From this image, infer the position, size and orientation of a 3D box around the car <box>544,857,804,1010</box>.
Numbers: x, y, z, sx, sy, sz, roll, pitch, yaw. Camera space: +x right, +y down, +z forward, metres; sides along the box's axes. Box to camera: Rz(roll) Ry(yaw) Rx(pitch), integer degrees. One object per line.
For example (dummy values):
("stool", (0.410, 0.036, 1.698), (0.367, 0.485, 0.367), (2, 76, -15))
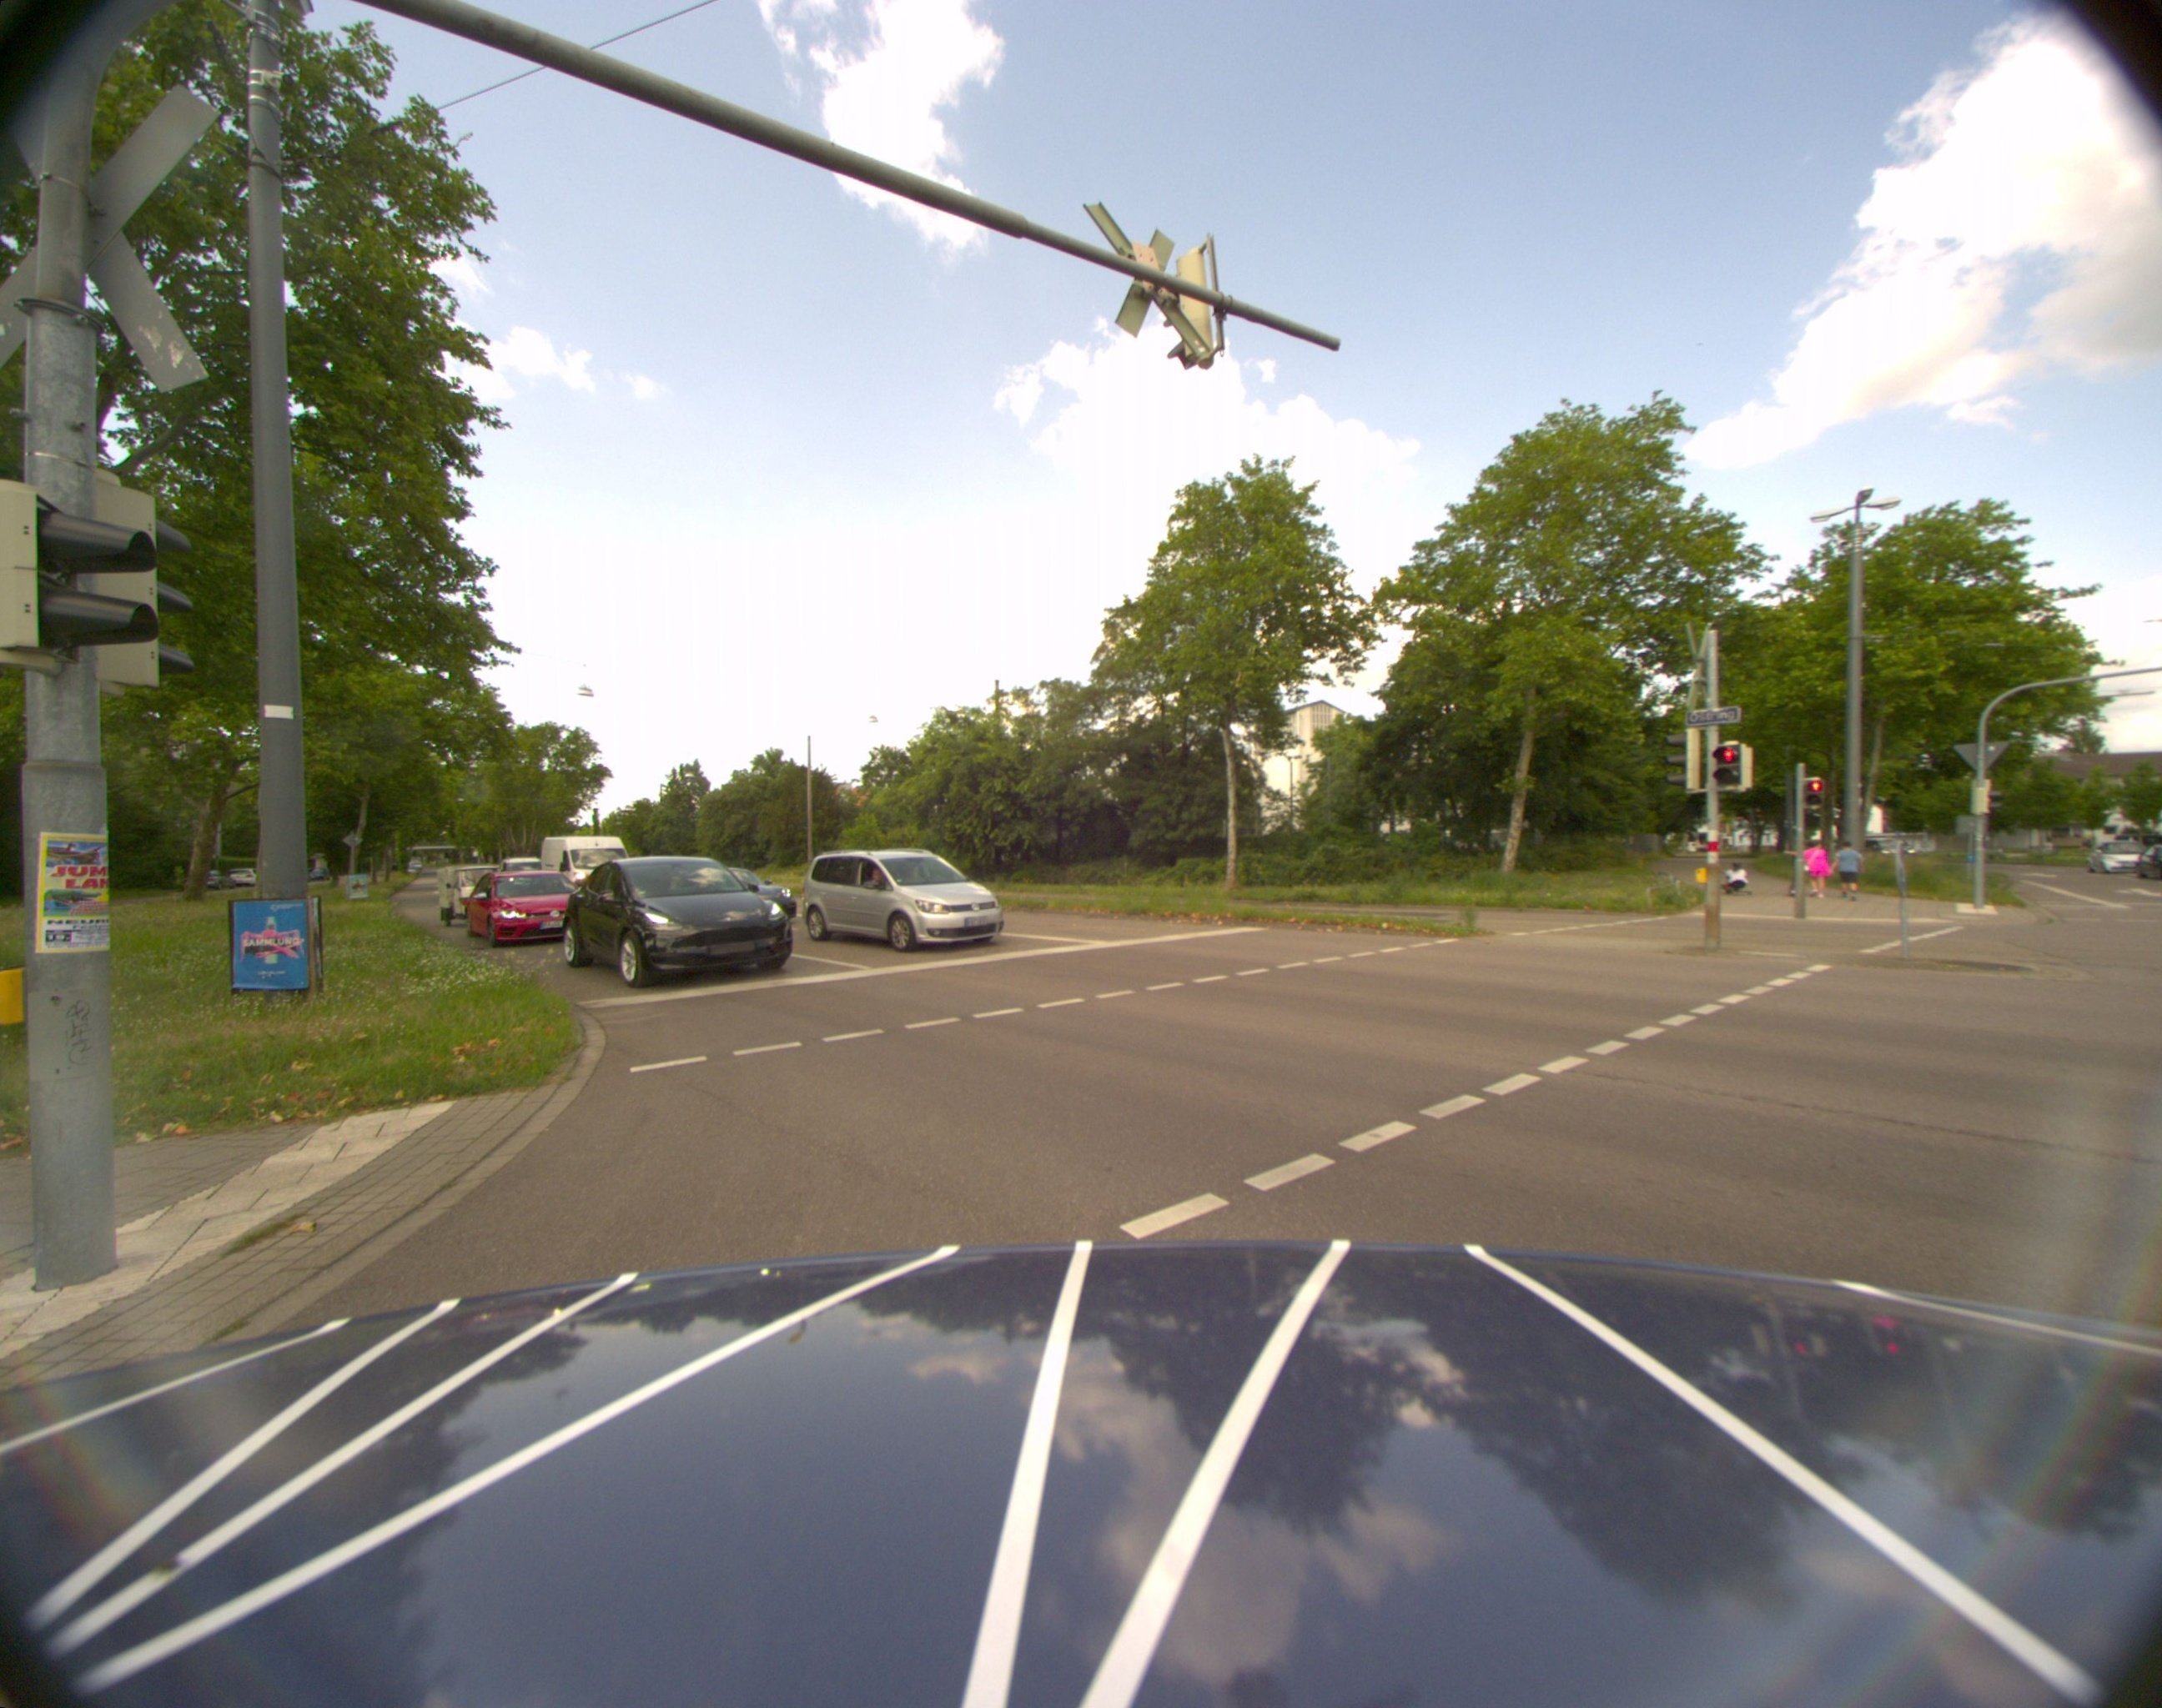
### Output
("car", (-5.965, 0.912, 10.861), (4.566, 1.643, 1.935), (0, 2, 45))

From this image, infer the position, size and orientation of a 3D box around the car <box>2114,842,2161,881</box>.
("car", (44.323, 0.264, 30.953), (1.806, 1.423, 4.478), (0, 2, 43))

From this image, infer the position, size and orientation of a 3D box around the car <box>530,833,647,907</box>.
("car", (-18.877, 0.544, 28.973), (5.916, 2.516, 2.232), (0, 3, 43))

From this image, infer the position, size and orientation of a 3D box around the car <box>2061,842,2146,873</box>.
("car", (49.875, 0.138, 37.158), (1.806, 1.423, 4.392), (0, 1, 44))

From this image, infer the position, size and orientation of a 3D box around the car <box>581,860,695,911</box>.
("car", (-13.693, 0.900, 23.388), (4.331, 1.367, 1.768), (0, 2, 43))

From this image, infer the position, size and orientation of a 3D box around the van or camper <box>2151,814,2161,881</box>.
("van or camper", (39.944, -0.226, 26.452), (1.976, 2.510, 6.049), (0, 1, 44))

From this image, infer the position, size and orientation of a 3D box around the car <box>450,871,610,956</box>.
("car", (-11.680, 1.134, 15.986), (4.489, 1.383, 1.805), (0, 2, 43))

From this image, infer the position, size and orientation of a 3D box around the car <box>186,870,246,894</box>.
("car", (-62.389, 2.002, 54.858), (1.779, 1.586, 3.648), (-2, -1, -31))

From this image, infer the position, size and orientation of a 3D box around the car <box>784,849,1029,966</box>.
("car", (-3.186, 0.792, 13.327), (4.489, 1.643, 1.934), (0, 2, 43))

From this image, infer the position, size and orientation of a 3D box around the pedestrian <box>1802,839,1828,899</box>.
("pedestrian", (20.019, 0.408, 20.723), (0.597, 1.610, 0.420), (-2, 1, -38))

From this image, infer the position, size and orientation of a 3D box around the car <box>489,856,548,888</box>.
("car", (-30.878, 0.962, 41.654), (4.331, 1.637, 1.768), (0, 1, 43))

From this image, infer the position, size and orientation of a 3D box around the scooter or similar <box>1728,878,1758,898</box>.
("scooter or similar", (18.345, 0.948, 21.067), (0.610, 0.508, 0.859), (-3, -1, 41))

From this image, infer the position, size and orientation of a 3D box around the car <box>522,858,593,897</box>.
("car", (-24.171, 1.029, 35.032), (4.144, 1.609, 1.847), (0, 2, 44))

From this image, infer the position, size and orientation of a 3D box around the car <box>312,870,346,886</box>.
("car", (-80.612, 2.573, 81.510), (1.779, 1.586, 3.648), (-2, -1, -31))

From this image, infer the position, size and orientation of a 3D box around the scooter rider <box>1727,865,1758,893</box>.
("scooter rider", (18.336, 0.682, 21.065), (0.610, 0.724, 0.861), (-3, -1, 41))

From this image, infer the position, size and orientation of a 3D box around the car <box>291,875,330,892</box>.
("car", (-76.075, 2.922, 75.056), (1.779, 1.586, 3.648), (-2, -1, -31))

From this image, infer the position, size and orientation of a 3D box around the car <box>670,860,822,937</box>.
("car", (-7.889, 0.932, 17.735), (3.988, 1.500, 1.808), (0, 3, 44))

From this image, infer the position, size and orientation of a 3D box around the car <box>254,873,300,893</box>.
("car", (-69.810, 2.505, 66.021), (1.779, 1.586, 3.648), (-2, -1, -31))

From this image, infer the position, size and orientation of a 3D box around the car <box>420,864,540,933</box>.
("car", (-16.306, 1.102, 20.533), (4.489, 1.561, 1.805), (0, 2, 43))

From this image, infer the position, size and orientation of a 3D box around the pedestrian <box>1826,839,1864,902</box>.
("pedestrian", (20.284, 0.430, 20.166), (0.612, 1.610, 0.631), (-2, 1, -38))

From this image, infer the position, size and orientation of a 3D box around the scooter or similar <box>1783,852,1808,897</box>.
("scooter or similar", (19.879, 0.560, 21.137), (0.777, 1.225, 0.321), (-2, -1, -36))

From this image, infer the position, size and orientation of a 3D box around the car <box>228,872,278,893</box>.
("car", (-67.565, 2.342, 62.071), (1.779, 1.586, 3.648), (-2, -1, -31))

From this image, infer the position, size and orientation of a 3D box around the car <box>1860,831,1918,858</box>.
("car", (66.482, -0.754, 62.623), (1.851, 2.143, 4.390), (0, 1, 26))
